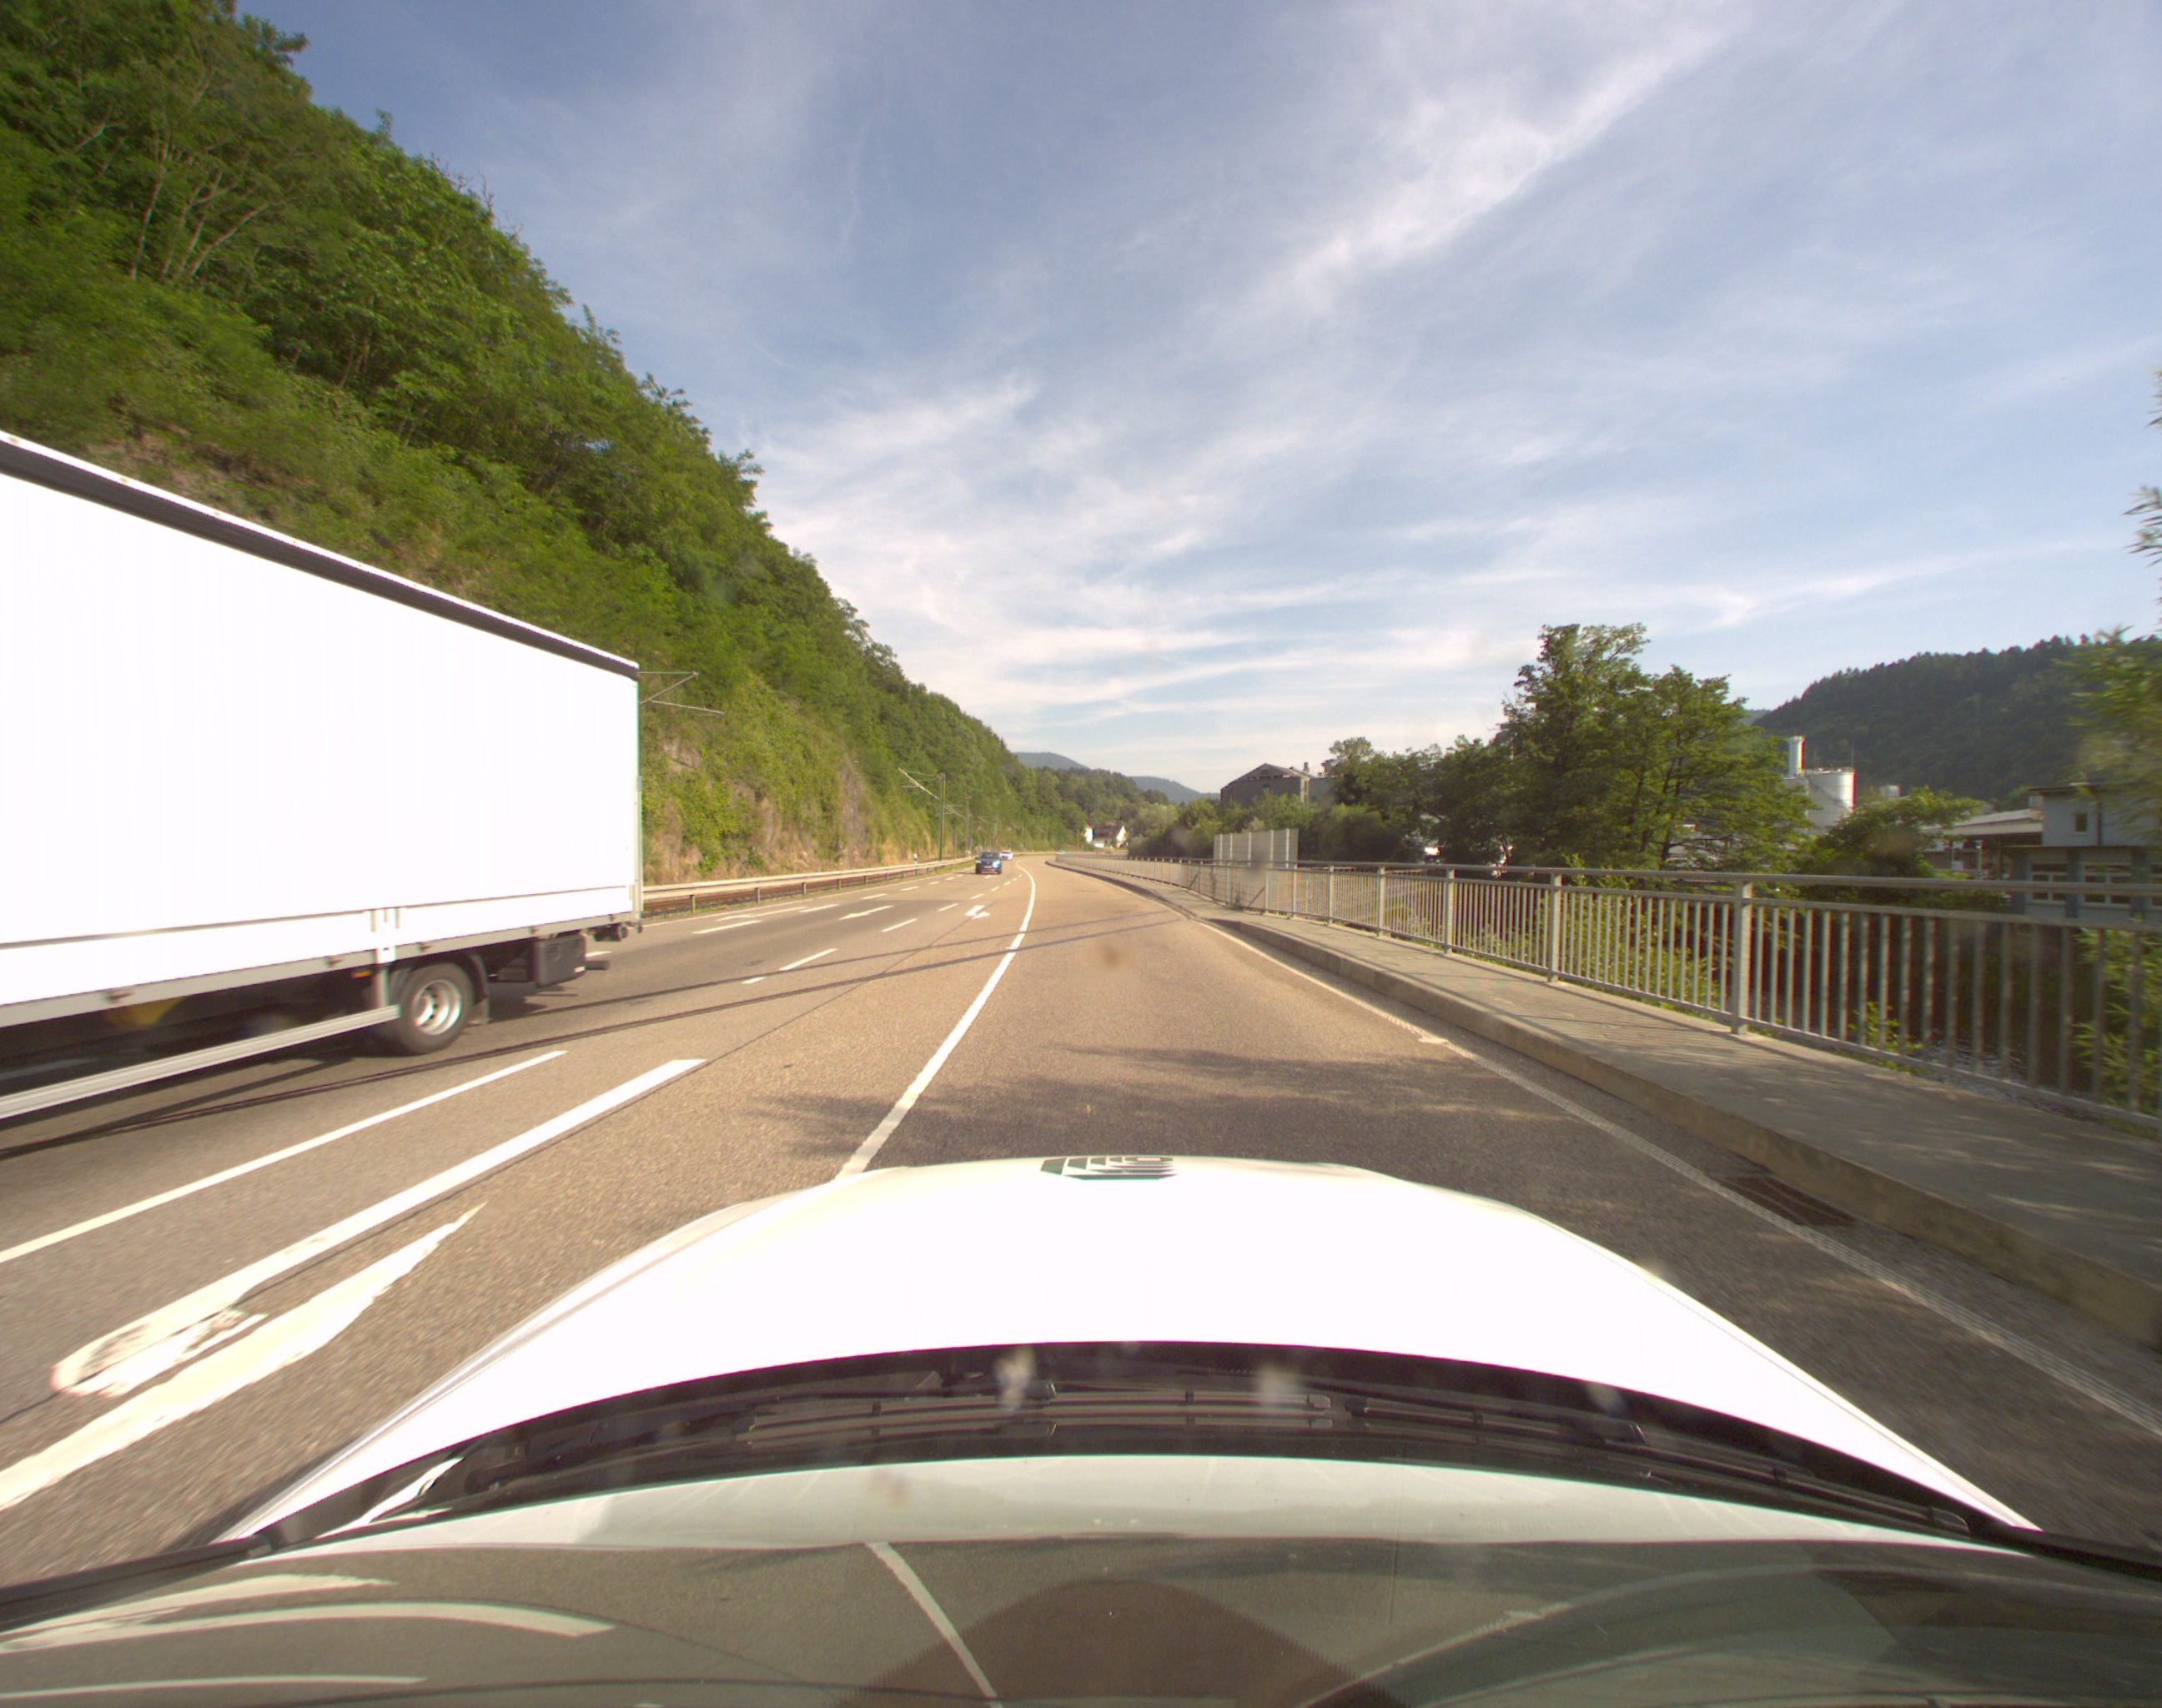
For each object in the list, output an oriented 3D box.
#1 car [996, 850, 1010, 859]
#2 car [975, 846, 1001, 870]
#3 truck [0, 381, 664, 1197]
[{"bbox_3d":[-12.132,0.086,126.825,2.059,1.439,4.680,1,0,-3],"label":"car"},{"bbox_3d":[-6.488,0.250,57.216,1.716,1.570,4.128,-1,0,-5],"label":"car"},{"bbox_3d":[-6.426,-0.302,4.939,2.886,3.798,8.899,-1,0,2],"label":"truck"}]
